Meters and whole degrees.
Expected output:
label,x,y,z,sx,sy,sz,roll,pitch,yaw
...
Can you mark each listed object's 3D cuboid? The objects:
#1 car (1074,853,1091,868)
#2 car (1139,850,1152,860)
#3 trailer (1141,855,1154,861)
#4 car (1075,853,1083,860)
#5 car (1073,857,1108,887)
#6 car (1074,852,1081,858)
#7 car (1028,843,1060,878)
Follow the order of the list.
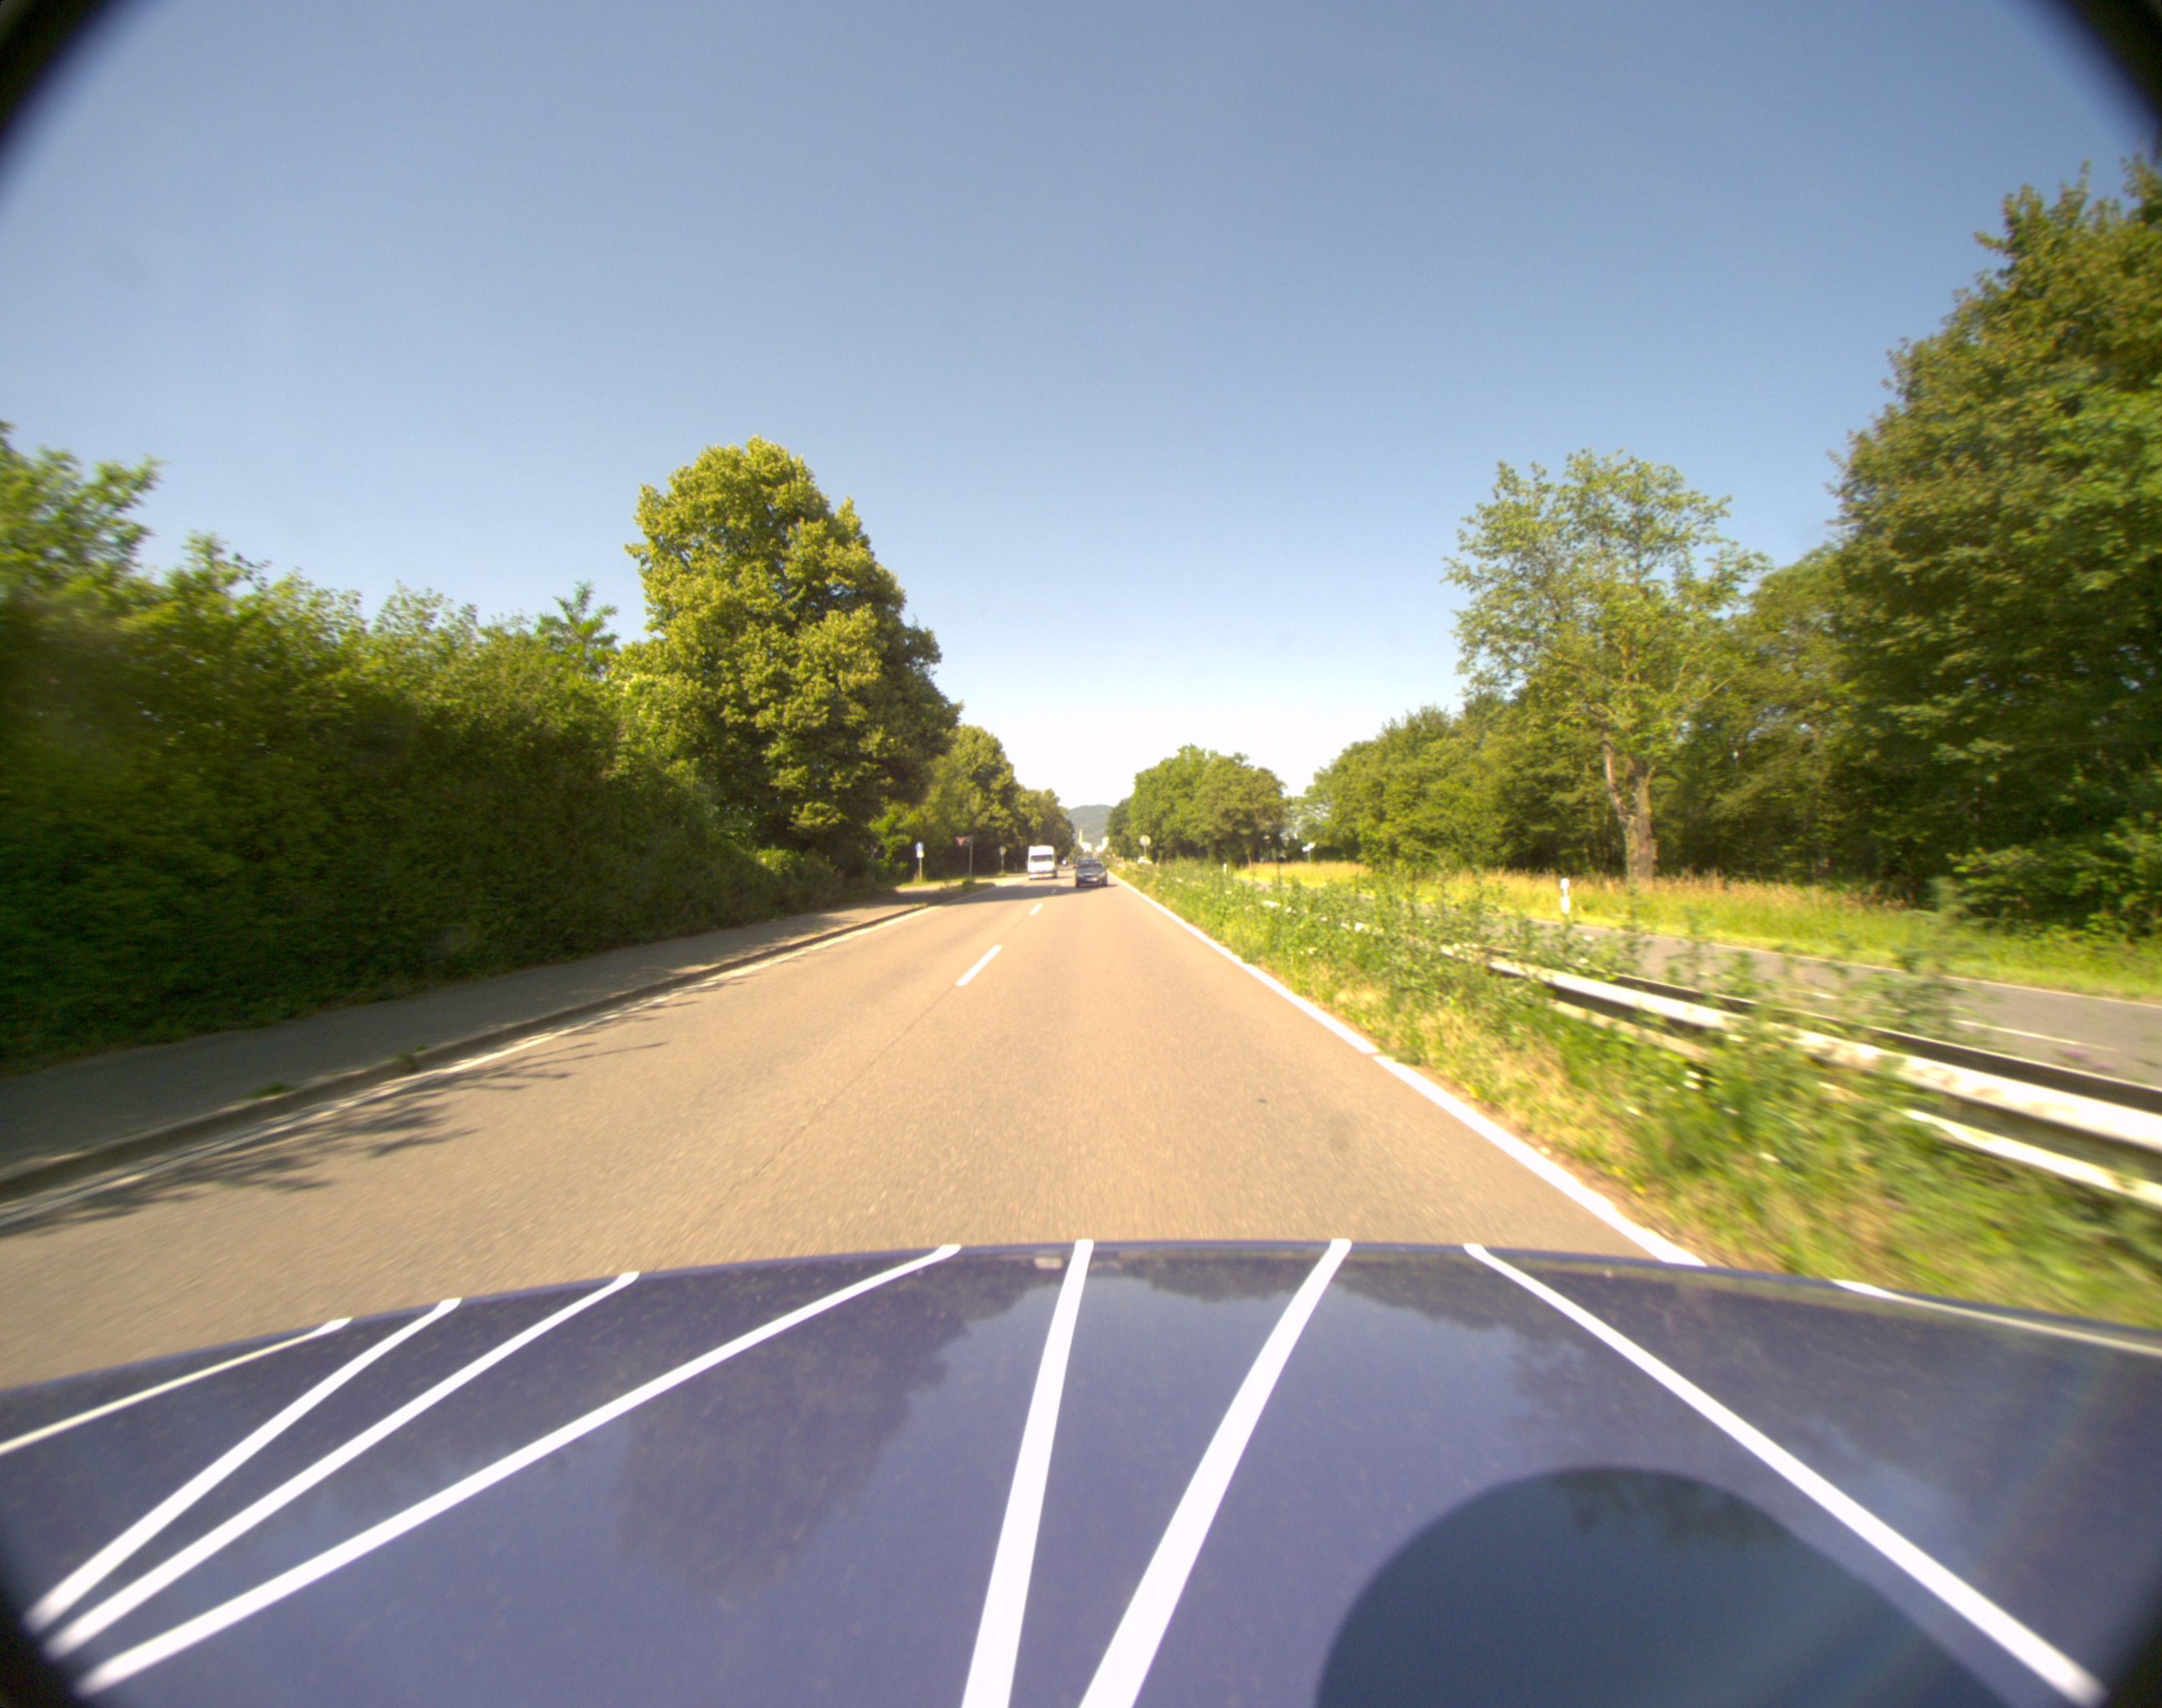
label,x,y,z,sx,sy,sz,roll,pitch,yaw
car,0.173,0.716,83.364,1.678,1.435,3.621,-2,1,1
car,11.576,0.244,136.330,1.998,1.691,4.813,-1,1,1
trailer,11.485,0.653,131.124,1.968,0.955,5.598,-1,0,1
car,-0.416,0.576,170.329,1.825,1.591,4.000,-1,0,1
car,0.517,0.914,39.827,1.678,1.434,4.362,-2,0,1
car,-0.976,0.368,205.602,1.825,1.591,4.000,-1,0,1
car,-2.716,0.442,57.461,1.998,2.433,5.088,-2,1,1
